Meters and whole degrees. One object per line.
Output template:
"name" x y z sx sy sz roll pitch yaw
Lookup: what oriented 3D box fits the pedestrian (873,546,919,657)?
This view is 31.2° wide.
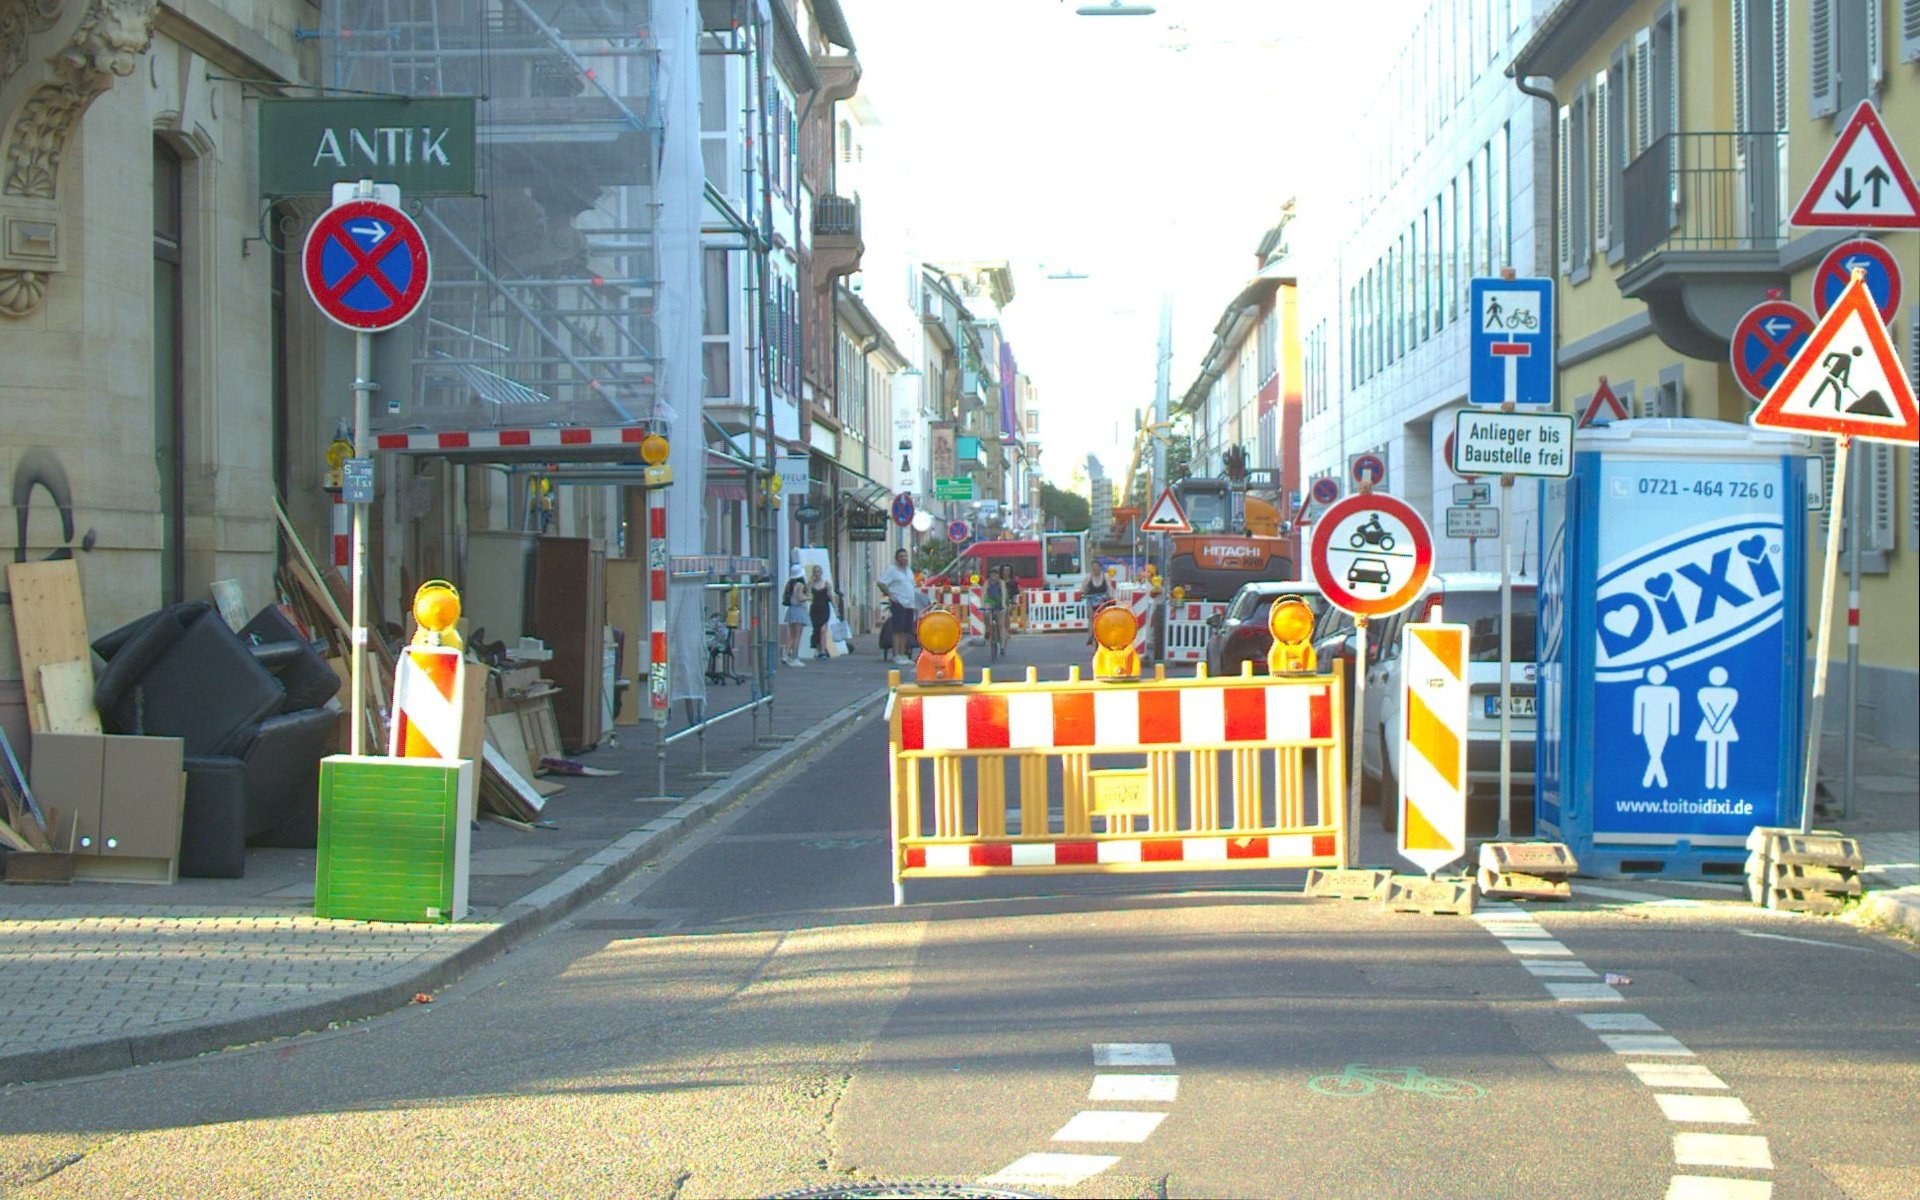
"pedestrian" -1.025 0.026 54.928 0.504 1.758 0.512 -1 1 -39

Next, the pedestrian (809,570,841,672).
"pedestrian" -2.072 0.319 52.800 0.343 1.561 0.420 0 0 24

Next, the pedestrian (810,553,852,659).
"pedestrian" -2.119 0.097 56.575 0.676 1.727 0.700 0 0 -1

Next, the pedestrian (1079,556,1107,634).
"pedestrian" 2.497 -0.094 64.323 0.504 1.456 0.512 0 1 3

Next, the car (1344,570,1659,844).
"car" 3.255 0.594 21.142 1.540 1.515 3.221 1 1 3

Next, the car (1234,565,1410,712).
"car" 3.933 0.391 37.769 1.718 1.515 3.221 0 1 3

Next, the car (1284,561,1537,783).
"car" 3.305 0.476 25.791 1.540 1.515 3.978 0 1 3

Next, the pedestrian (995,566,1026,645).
"pedestrian" 0.945 0.099 64.250 0.504 1.456 0.512 0 1 9

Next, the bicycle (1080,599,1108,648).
"bicycle" 2.505 0.439 64.383 0.504 0.881 1.477 0 1 2

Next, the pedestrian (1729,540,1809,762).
"pedestrian" 5.890 0.363 25.040 0.467 1.589 0.673 0 1 5

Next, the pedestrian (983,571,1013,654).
"pedestrian" 0.676 0.220 61.346 0.504 1.456 0.512 0 1 3
